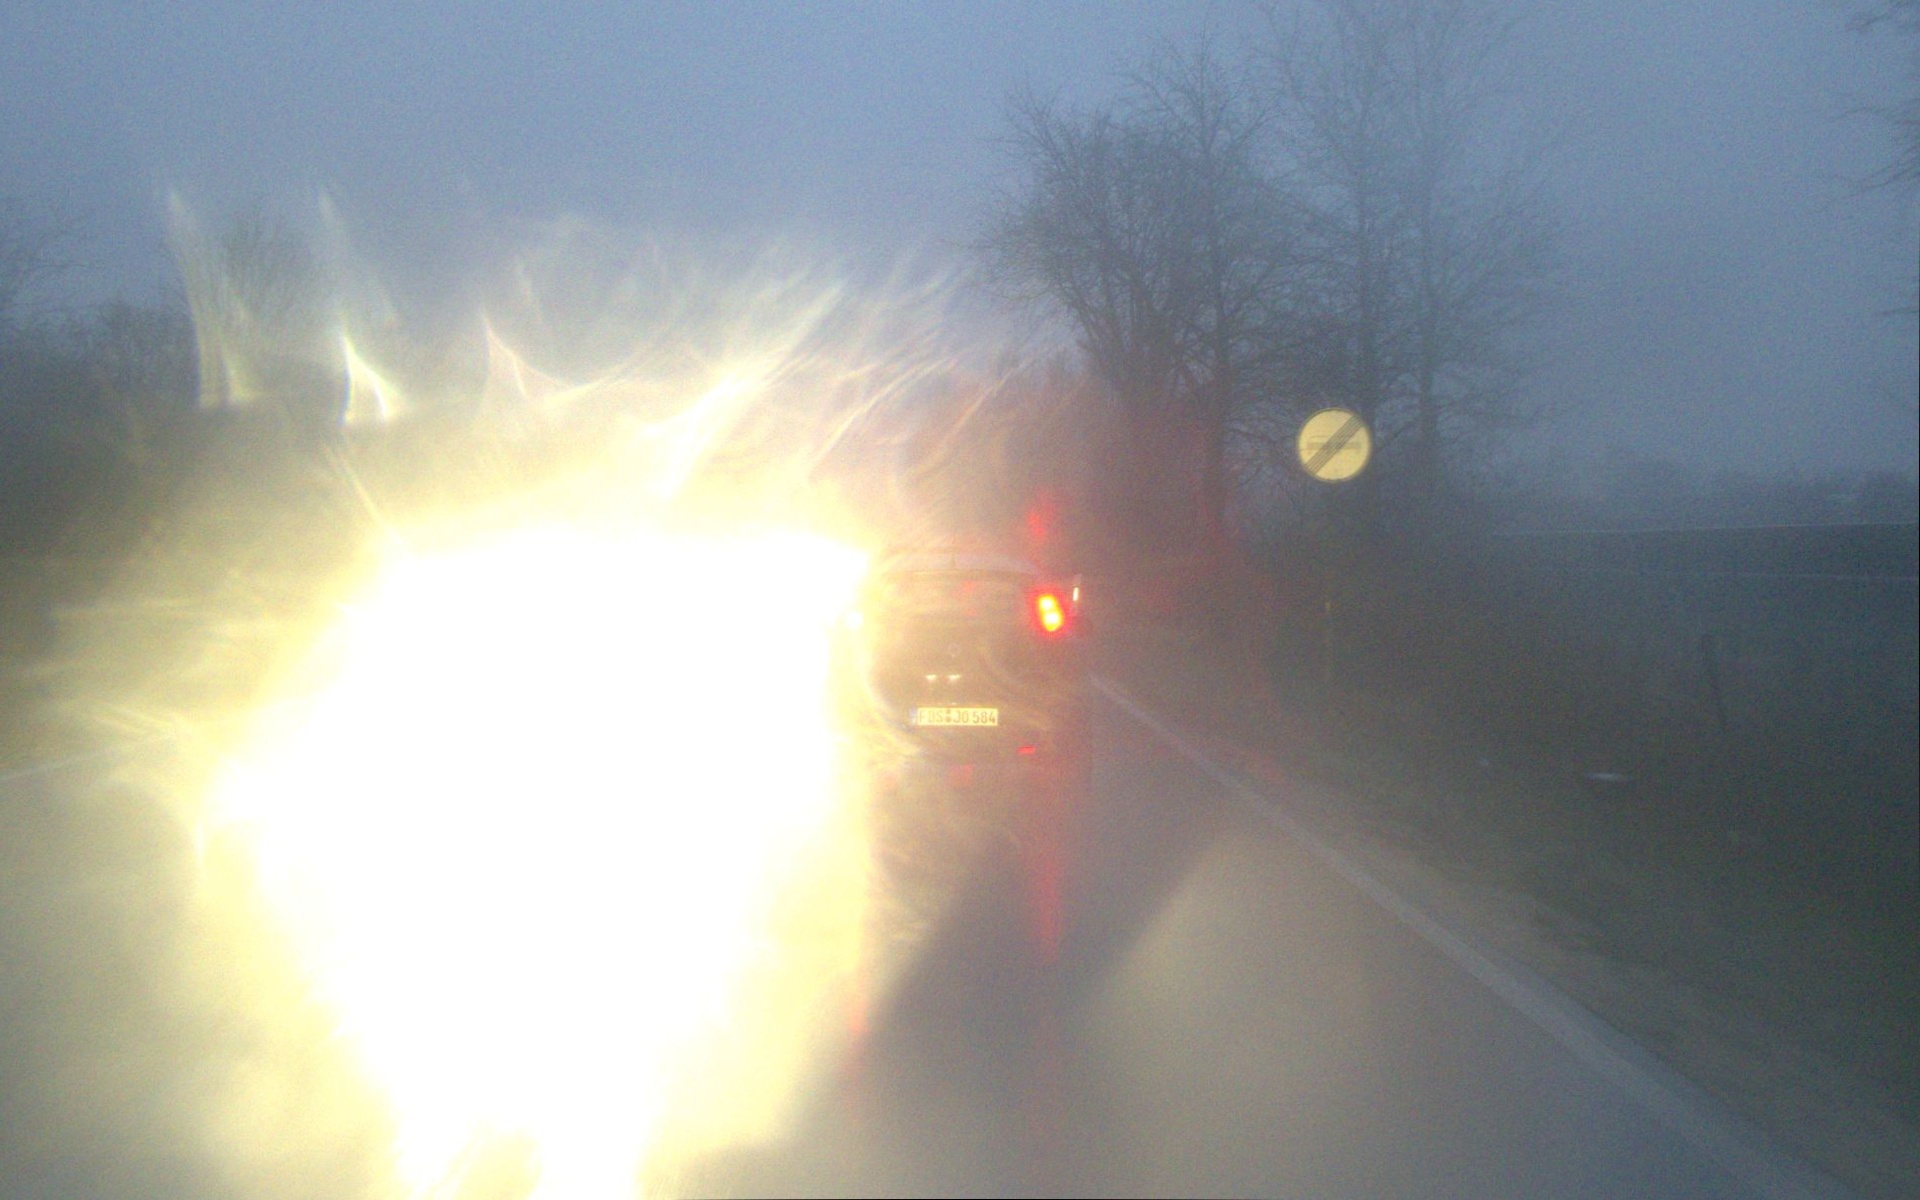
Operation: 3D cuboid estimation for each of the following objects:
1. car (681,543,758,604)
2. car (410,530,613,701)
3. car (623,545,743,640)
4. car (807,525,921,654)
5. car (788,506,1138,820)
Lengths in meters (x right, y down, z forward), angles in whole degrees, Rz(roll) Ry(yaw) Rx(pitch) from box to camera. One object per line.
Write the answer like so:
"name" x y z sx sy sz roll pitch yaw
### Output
"car" -6.580 -0.740 94.316 1.922 1.648 4.105 0 1 -2
"car" -4.533 0.123 35.234 1.752 1.641 4.050 0 1 -3
"car" -4.794 -0.163 60.054 1.779 1.590 4.693 0 1 -1
"car" -1.431 -0.181 52.448 1.574 1.868 3.709 1 1 0
"car" 0.033 0.335 21.857 1.993 1.778 4.000 1 1 0
